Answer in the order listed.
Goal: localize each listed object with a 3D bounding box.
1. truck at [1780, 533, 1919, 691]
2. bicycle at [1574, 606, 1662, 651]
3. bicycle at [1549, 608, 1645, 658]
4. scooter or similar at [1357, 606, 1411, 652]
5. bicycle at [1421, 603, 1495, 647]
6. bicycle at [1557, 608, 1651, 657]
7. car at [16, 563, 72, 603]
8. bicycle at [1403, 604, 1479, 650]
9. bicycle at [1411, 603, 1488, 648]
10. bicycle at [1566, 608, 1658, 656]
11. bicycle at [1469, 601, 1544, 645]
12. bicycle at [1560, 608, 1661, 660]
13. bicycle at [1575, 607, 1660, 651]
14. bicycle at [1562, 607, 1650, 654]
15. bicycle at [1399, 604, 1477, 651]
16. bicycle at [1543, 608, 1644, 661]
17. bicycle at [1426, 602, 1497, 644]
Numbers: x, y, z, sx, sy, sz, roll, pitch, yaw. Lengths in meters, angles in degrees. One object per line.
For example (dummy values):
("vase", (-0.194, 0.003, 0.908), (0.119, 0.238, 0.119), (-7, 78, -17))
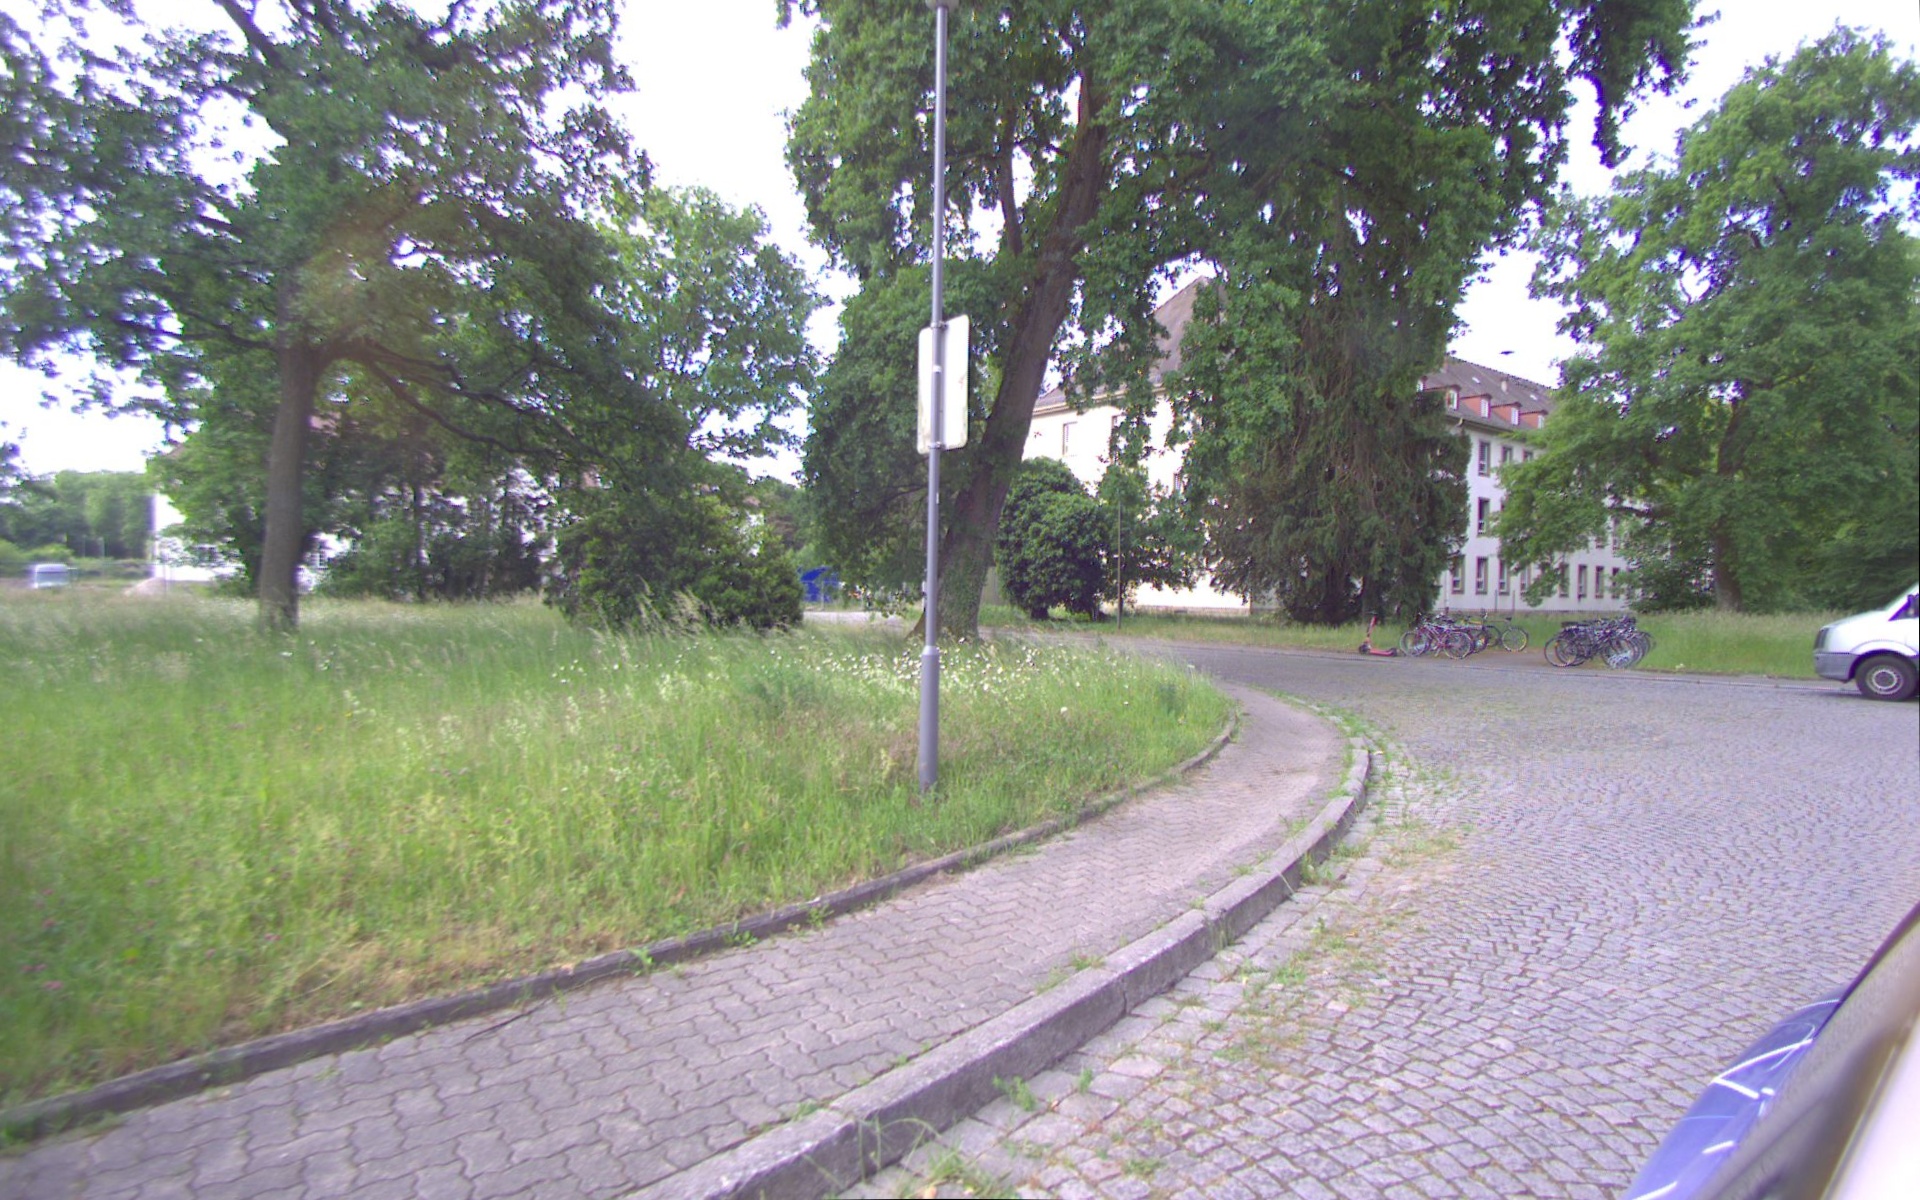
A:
("truck", (16.409, 0.239, 14.400), (1.956, 2.396, 7.086), (2, 0, -37))
("bicycle", (17.501, 0.750, 26.964), (1.924, 1.185, 0.483), (-1, -1, 32))
("bicycle", (15.592, 0.797, 24.823), (1.922, 1.185, 0.483), (-1, -1, 29))
("scooter or similar", (11.379, 0.766, 27.186), (0.406, 1.185, 1.307), (0, -1, -38))
("bicycle", (13.949, 0.694, 28.377), (1.840, 1.185, 0.484), (0, 0, 25))
("bicycle", (16.033, 0.796, 25.239), (1.922, 1.185, 0.483), (-1, -1, 29))
("car", (-63.746, -1.131, 70.399), (5.657, 2.674, 2.244), (-1, -1, 41))
("bicycle", (12.959, 0.723, 27.275), (1.842, 1.185, 0.483), (0, 0, 28))
("bicycle", (13.438, 0.695, 27.802), (1.845, 1.185, 0.482), (0, 0, 32))
("bicycle", (16.583, 0.796, 25.783), (1.924, 1.185, 0.483), (-1, -1, 32))
("bicycle", (16.029, 0.650, 29.728), (1.854, 1.184, 0.480), (3, 2, 44))
("bicycle", (15.250, 0.794, 23.768), (1.920, 1.185, 0.484), (-1, -1, 26))
("bicycle", (18.204, 0.796, 28.057), (1.928, 1.185, 0.530), (-1, -1, 38))
("bicycle", (16.982, 0.797, 26.653), (1.924, 1.185, 0.483), (-1, -1, 32))
("bicycle", (12.636, 0.720, 26.774), (1.842, 1.185, 0.483), (0, 0, 28))
("bicycle", (14.656, 0.797, 23.454), (1.920, 1.185, 0.484), (-1, -1, 26))
("bicycle", (14.685, 0.657, 29.681), (1.840, 1.185, 0.484), (0, 0, 25))
